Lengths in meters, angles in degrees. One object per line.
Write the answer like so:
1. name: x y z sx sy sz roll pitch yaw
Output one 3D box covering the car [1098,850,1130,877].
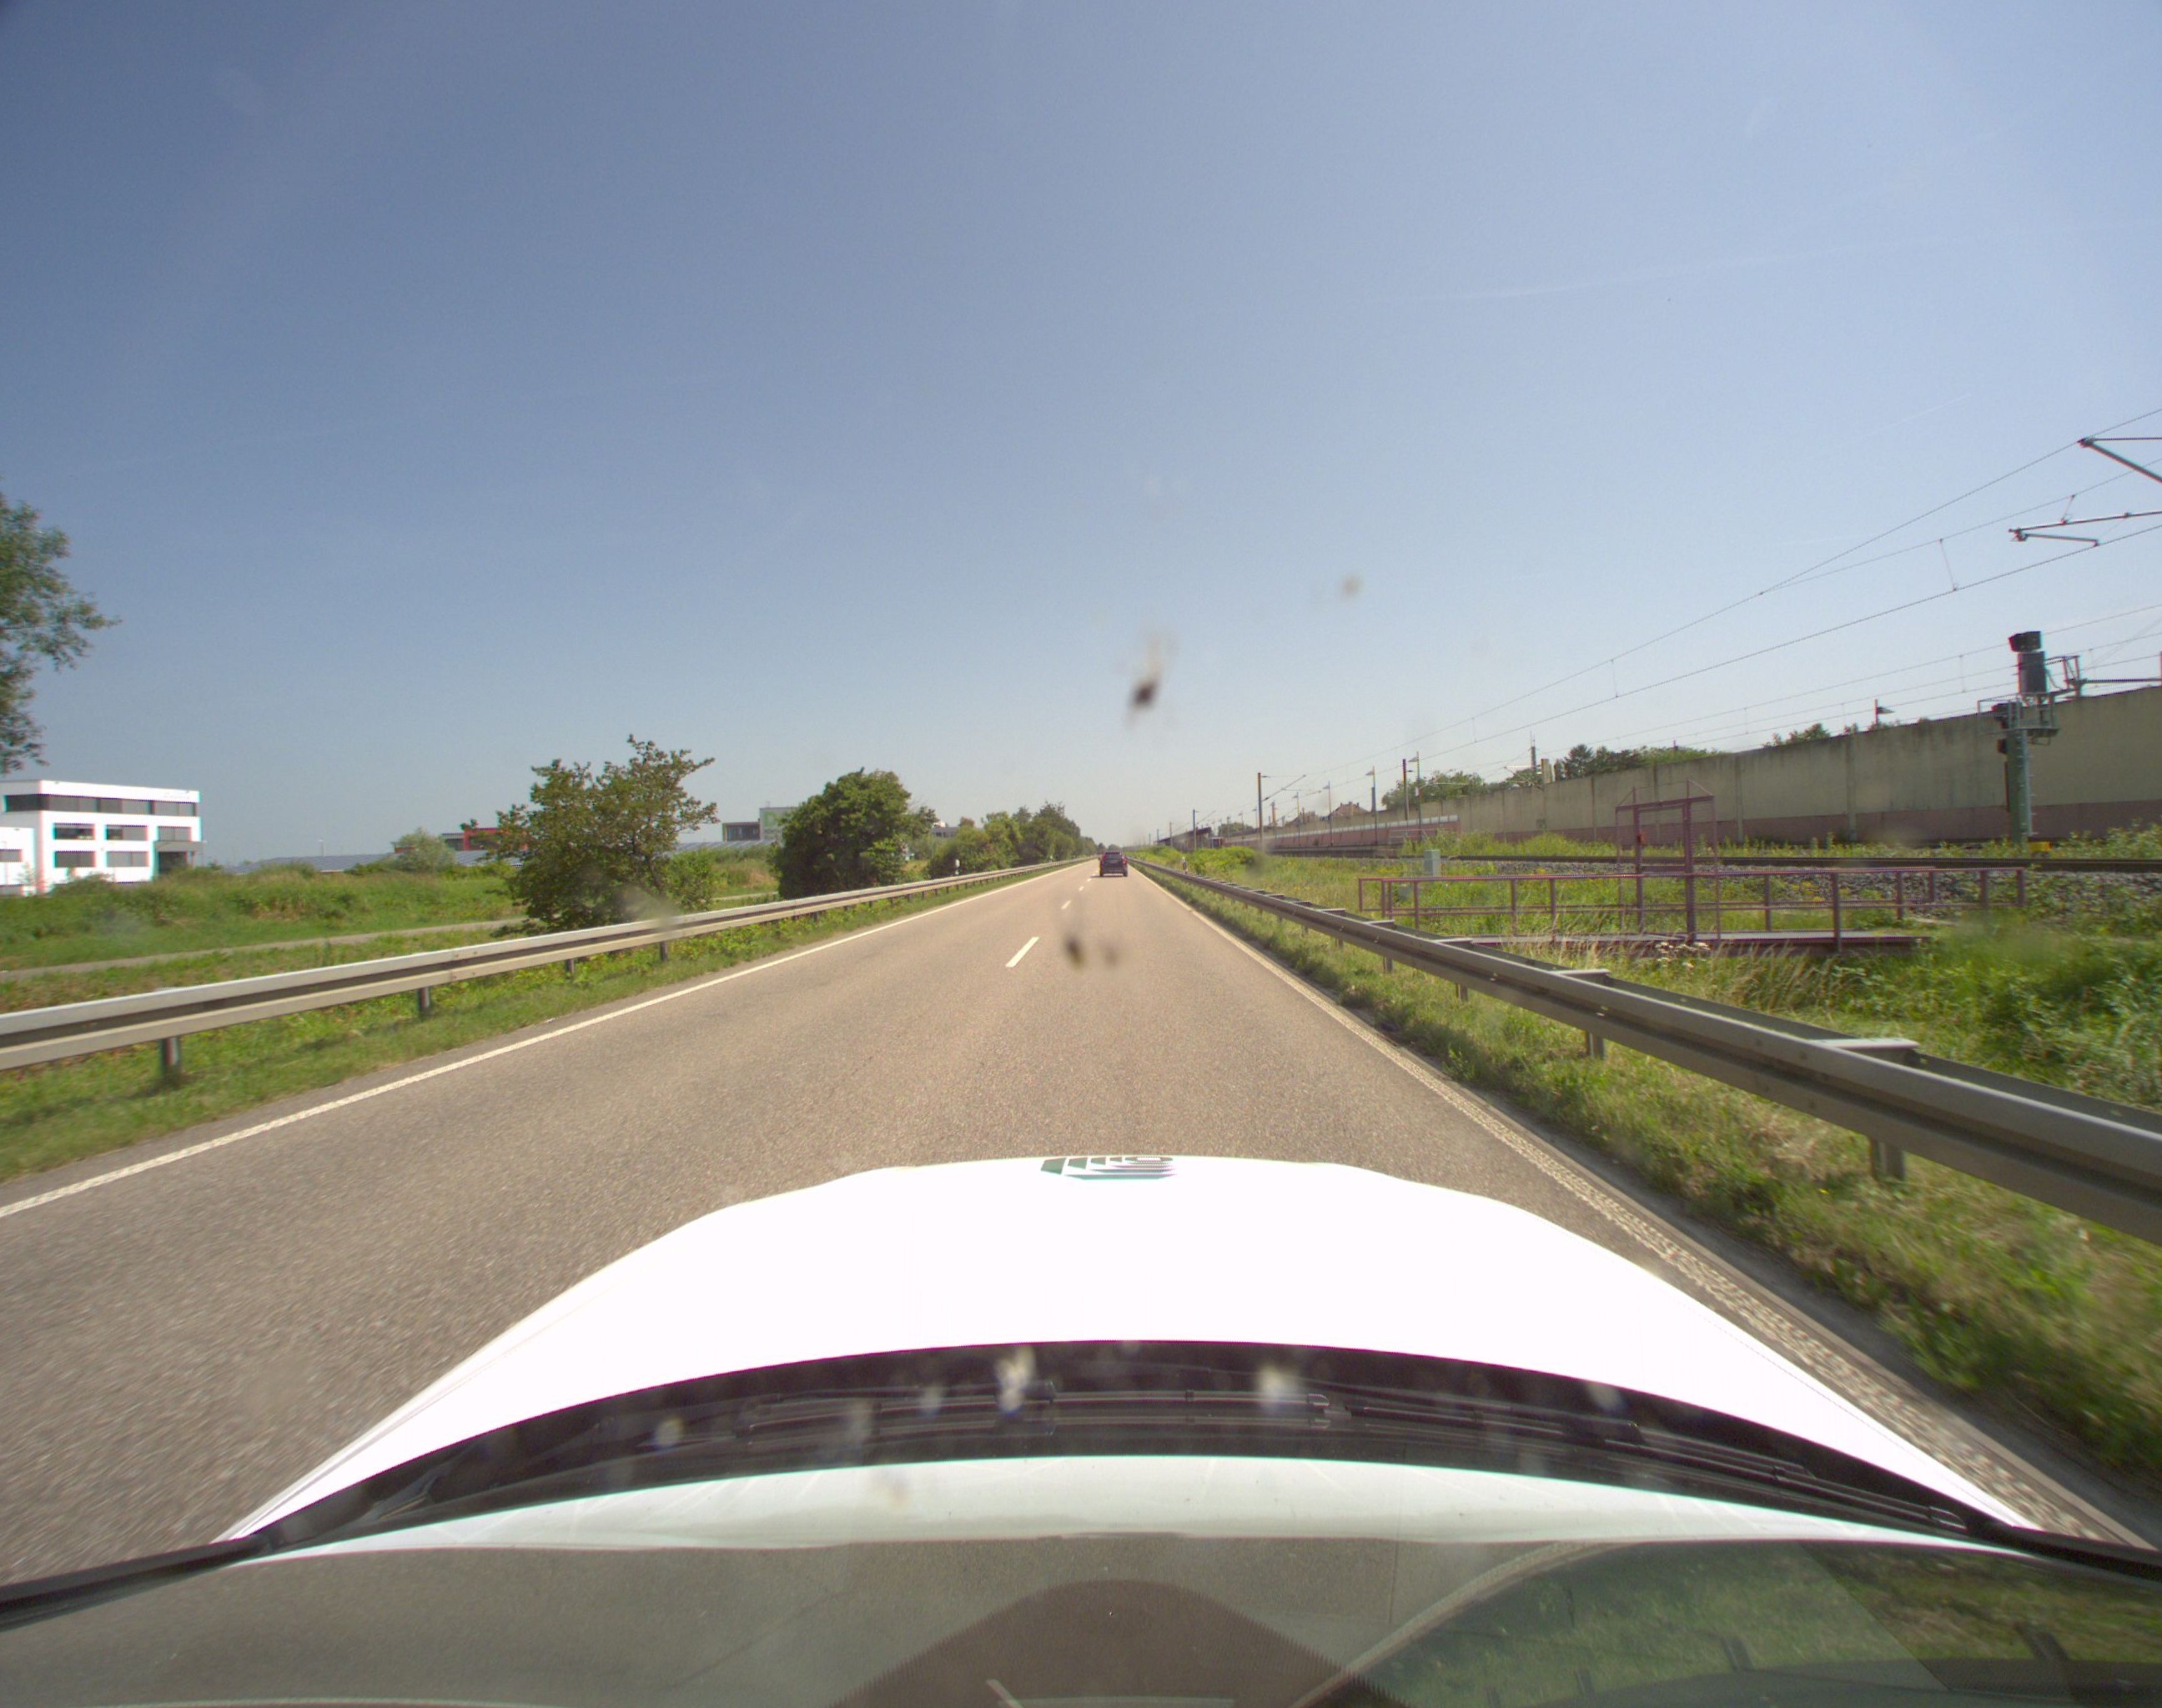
1. car: 2.193 0.630 55.457 1.987 1.700 3.999 -1 0 0
